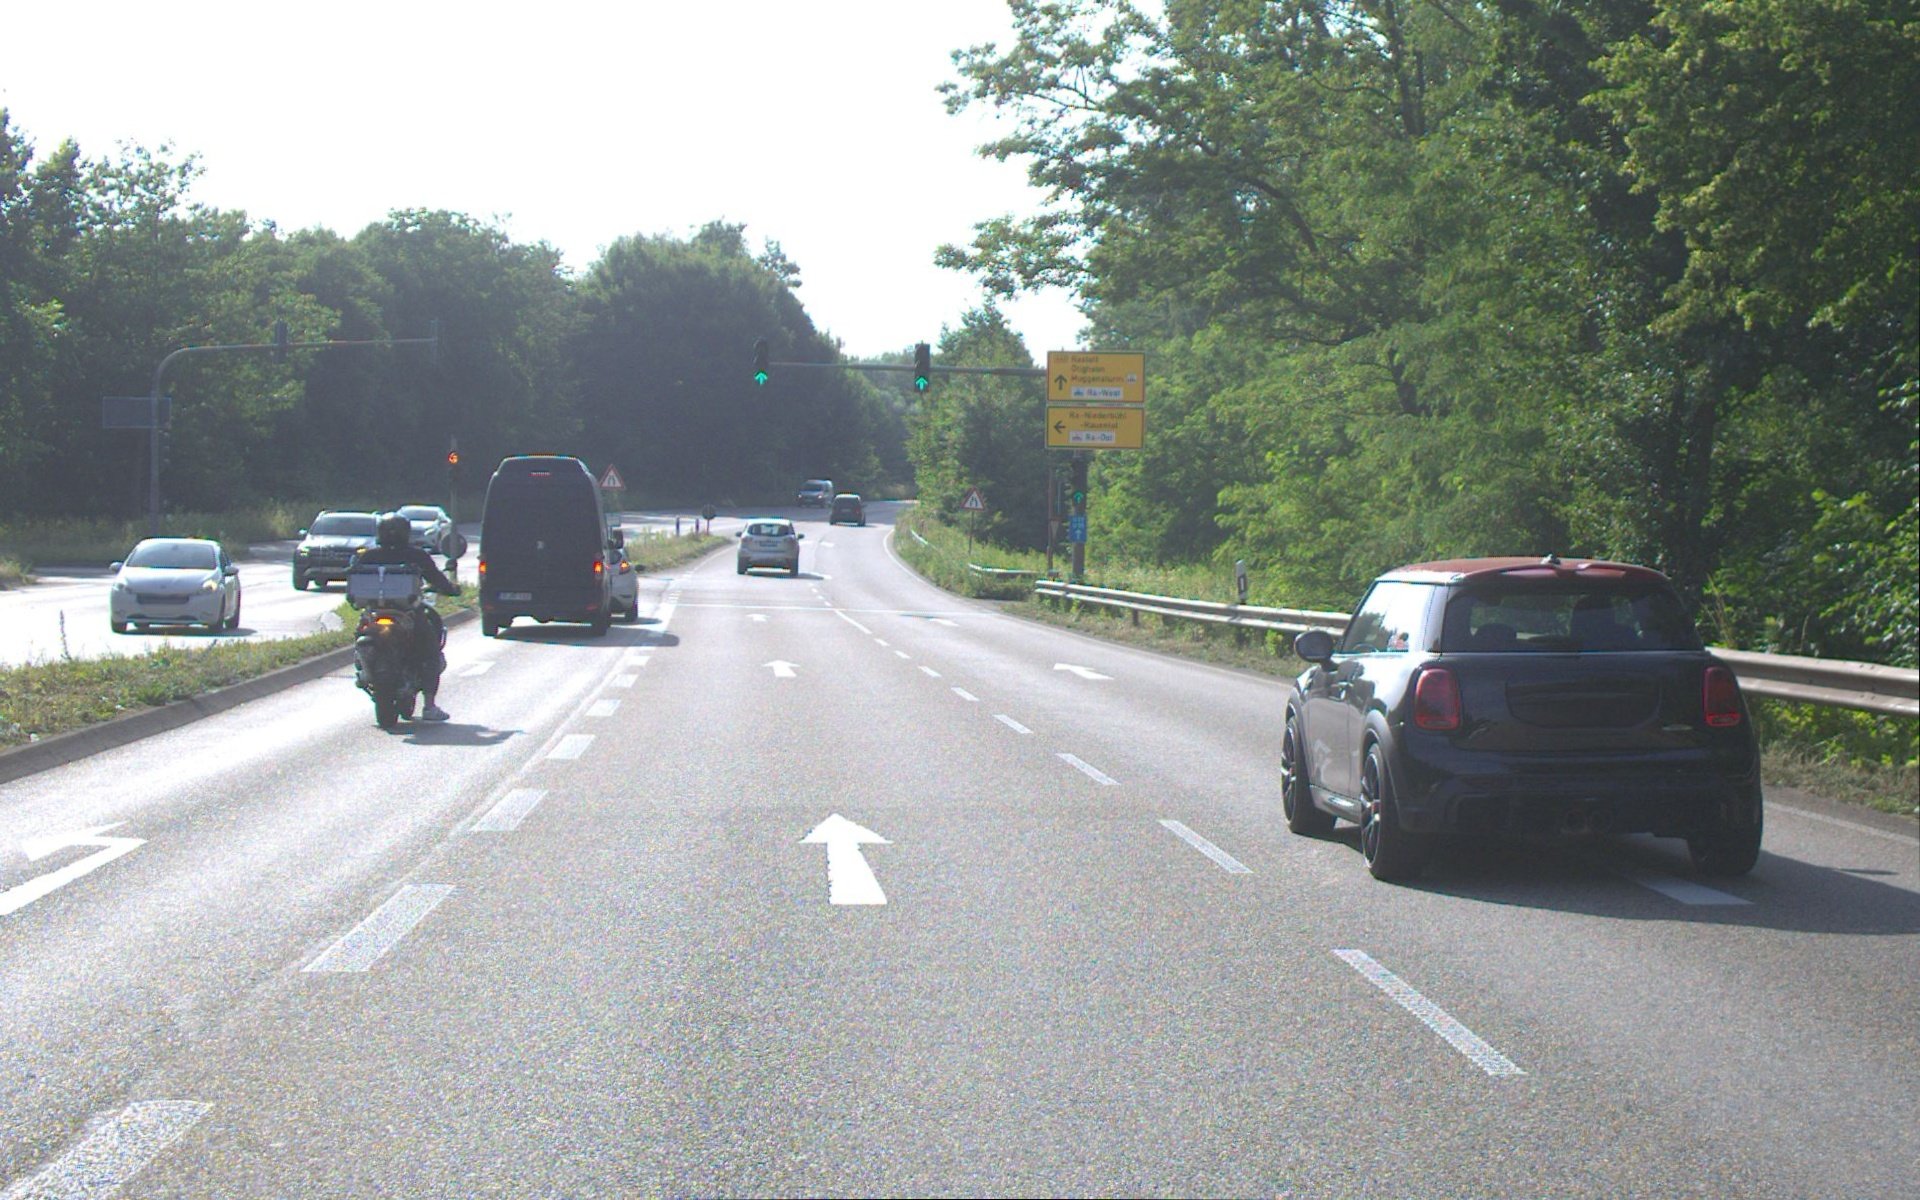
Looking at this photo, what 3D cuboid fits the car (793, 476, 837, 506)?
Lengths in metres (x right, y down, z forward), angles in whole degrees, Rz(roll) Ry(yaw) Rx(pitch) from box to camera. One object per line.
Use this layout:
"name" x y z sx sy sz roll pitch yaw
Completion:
"car" -9.600 -7.215 227.610 1.851 1.780 4.668 3 1 10

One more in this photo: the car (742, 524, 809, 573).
"car" -5.610 -1.583 104.633 1.761 1.375 3.972 2 1 0

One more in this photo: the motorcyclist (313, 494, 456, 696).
"motorcyclist" -4.788 -0.057 28.692 0.884 1.610 1.290 3 1 1

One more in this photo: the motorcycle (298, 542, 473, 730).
"motorcycle" -4.779 0.263 28.815 0.909 1.448 2.689 -2 2 1

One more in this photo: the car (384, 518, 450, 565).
"car" -17.919 -1.956 113.629 1.883 1.498 4.266 -1 1 -6

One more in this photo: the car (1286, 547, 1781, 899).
"car" 2.646 0.500 16.709 1.820 1.462 3.873 1 1 1

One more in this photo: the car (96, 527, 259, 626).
"car" -12.330 -0.397 54.381 1.788 1.406 4.227 3 1 -4

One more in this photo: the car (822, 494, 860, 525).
"car" -6.256 -4.721 180.015 1.744 1.532 3.927 3 1 -5

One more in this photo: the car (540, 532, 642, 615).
"car" -6.841 -0.523 63.993 1.645 1.484 4.104 0 1 -3

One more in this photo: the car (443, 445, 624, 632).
"car" -6.920 -1.029 56.505 2.210 2.878 7.012 0 1 -1

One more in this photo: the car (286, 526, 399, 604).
"car" -14.473 -0.856 80.795 2.075 1.757 4.758 0 1 -4
